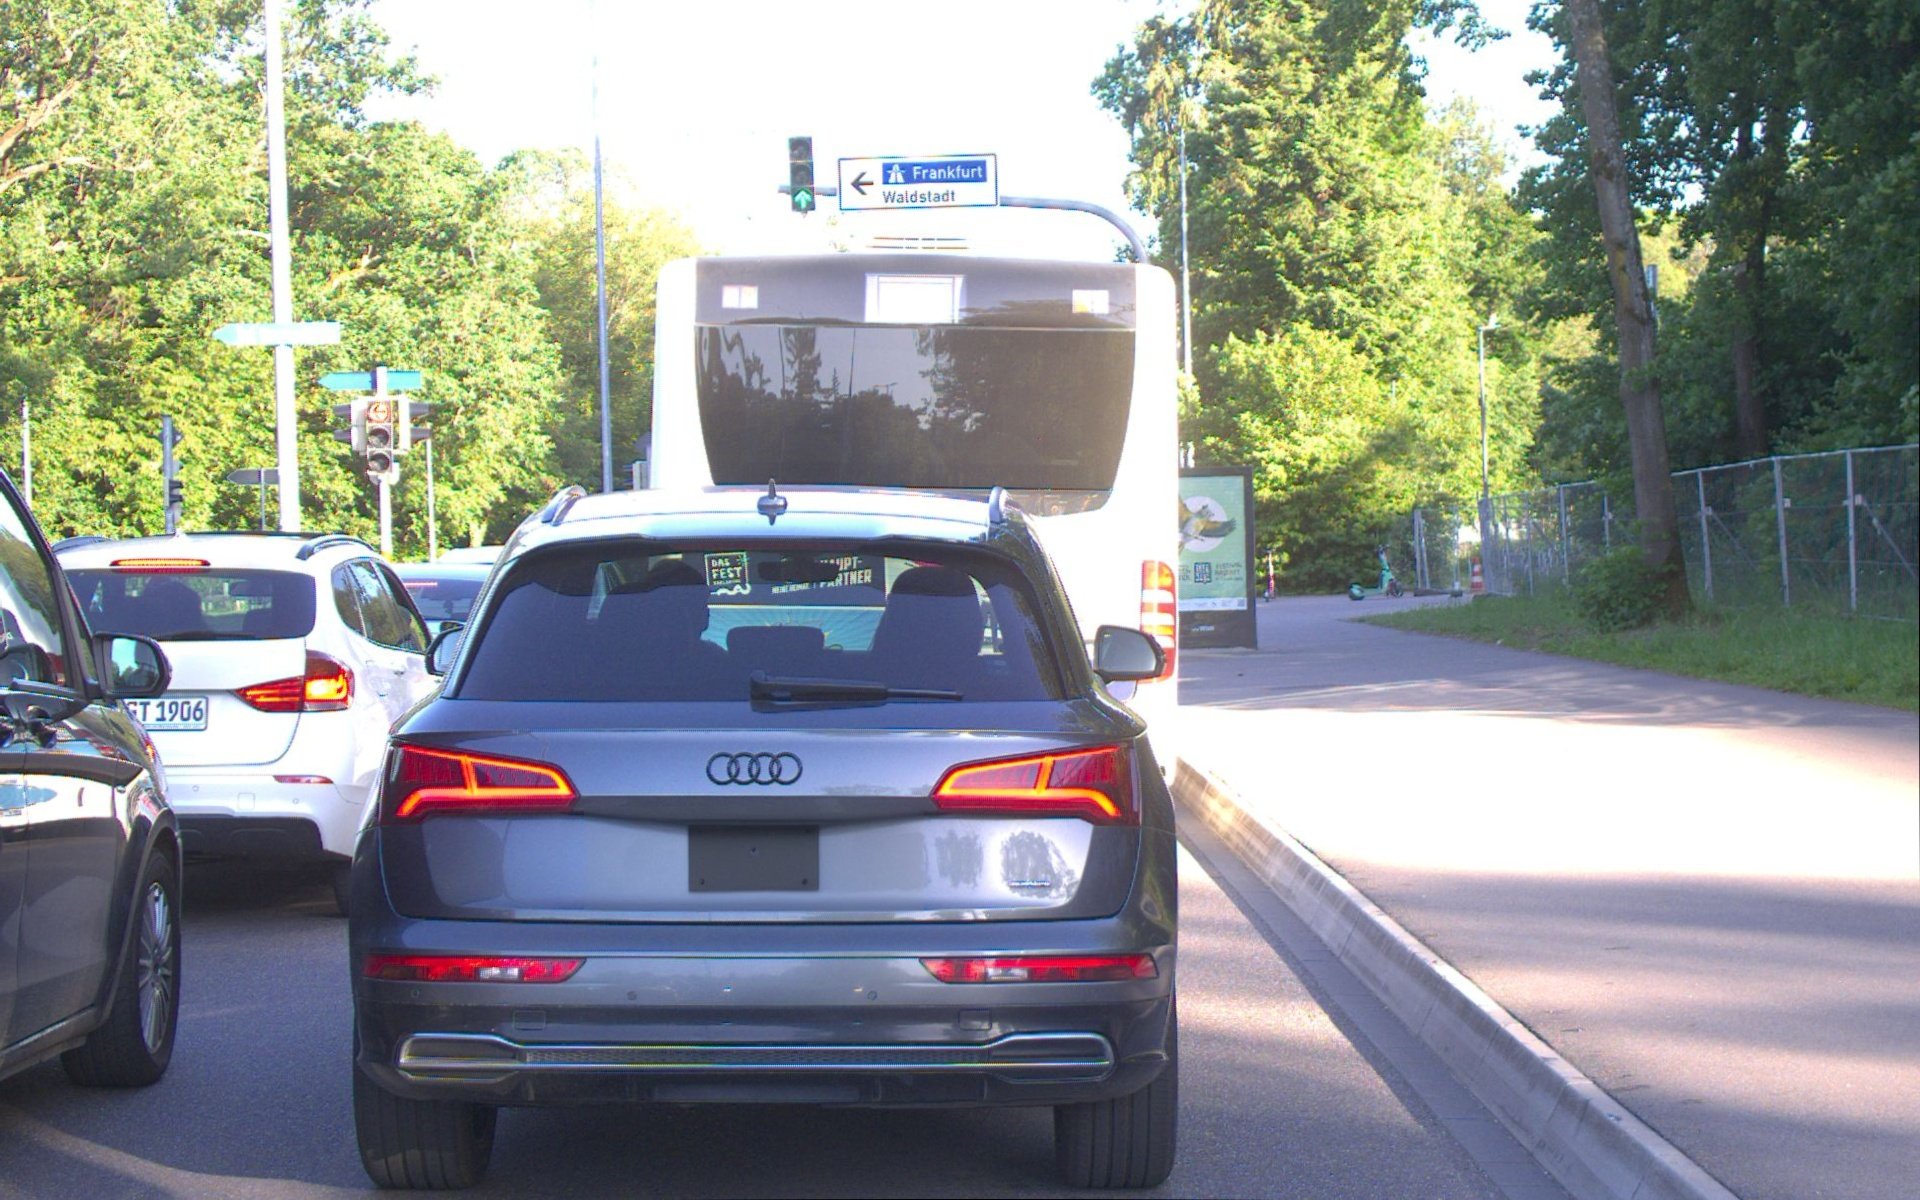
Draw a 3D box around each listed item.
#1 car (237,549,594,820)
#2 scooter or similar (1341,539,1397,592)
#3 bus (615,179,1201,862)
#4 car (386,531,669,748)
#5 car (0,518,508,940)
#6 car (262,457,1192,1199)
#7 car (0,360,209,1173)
[{"bbox_3d":[-3.263,0.444,21.306,1.785,1.439,4.279,1,2,-4],"label":"car"},{"bbox_3d":[9.273,-0.790,77.904,1.184,1.170,0.659,1,1,11],"label":"scooter or similar"},{"bbox_3d":[-0.214,-0.448,18.891,2.678,3.131,5.882,1,2,1],"label":"bus"},{"bbox_3d":[-3.406,0.256,27.723,1.808,1.567,4.000,1,2,-1],"label":"car"},{"bbox_3d":[-3.128,0.448,15.167,1.718,1.575,4.434,1,1,-1],"label":"car"},{"bbox_3d":[-0.497,0.497,8.980,1.868,1.658,4.000,1,2,-1],"label":"car"},{"bbox_3d":[-3.127,0.372,7.626,1.907,1.849,4.873,1,1,-1],"label":"car"}]
